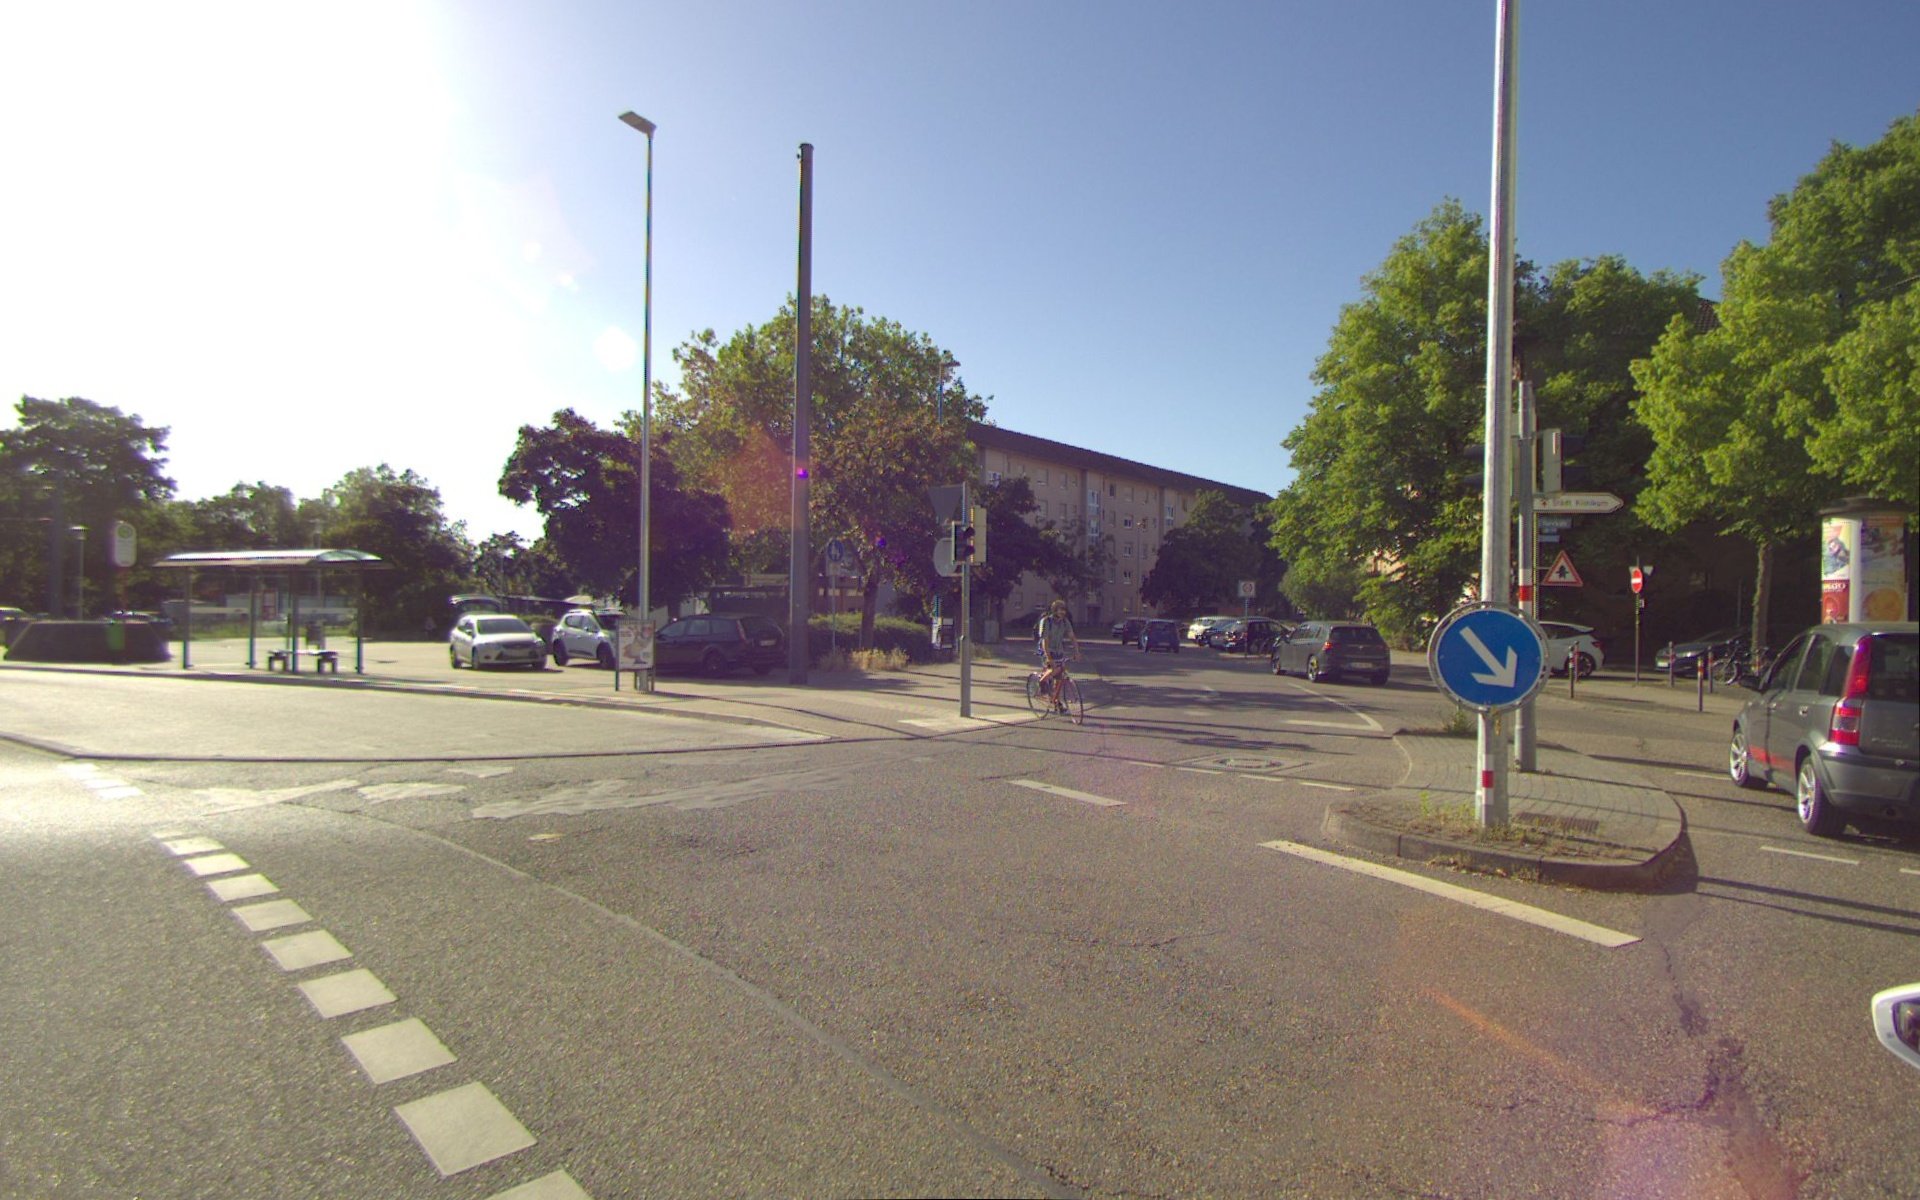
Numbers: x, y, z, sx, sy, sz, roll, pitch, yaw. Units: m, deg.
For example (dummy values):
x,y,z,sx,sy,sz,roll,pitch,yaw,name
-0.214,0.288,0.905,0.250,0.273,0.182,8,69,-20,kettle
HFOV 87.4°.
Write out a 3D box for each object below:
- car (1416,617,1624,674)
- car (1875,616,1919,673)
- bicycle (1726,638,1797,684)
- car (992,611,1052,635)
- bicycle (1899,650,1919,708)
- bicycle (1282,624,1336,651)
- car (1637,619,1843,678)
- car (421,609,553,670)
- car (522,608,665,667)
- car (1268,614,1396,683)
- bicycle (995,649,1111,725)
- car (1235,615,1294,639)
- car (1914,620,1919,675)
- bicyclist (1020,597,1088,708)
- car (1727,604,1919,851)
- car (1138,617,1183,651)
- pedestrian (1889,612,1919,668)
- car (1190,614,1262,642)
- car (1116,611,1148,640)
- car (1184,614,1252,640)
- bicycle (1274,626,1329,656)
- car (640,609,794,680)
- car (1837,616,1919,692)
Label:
x,y,z,sx,sy,sz,roll,pitch,yaw,name
16.160,1.285,29.244,4.935,1.539,1.925,0,-1,12,car
30.376,1.347,30.118,4.161,1.662,1.760,0,0,4,car
19.716,1.501,24.712,1.562,1.086,0.353,1,0,-5,bicycle
4.840,1.754,78.425,4.362,1.822,2.058,0,-1,41,car
18.847,1.511,19.204,1.562,1.086,0.353,1,0,-5,bicycle
13.710,1.475,39.453,1.995,1.044,0.448,0,-1,-3,bicycle
21.922,1.345,28.388,4.213,1.539,1.910,1,-1,6,car
-12.920,1.043,27.418,3.535,1.528,1.679,0,-1,34,car
-10.528,1.033,28.824,3.930,1.601,1.796,0,-1,32,car
8.932,1.121,24.449,1.651,1.528,3.758,1,-1,-1,car
1.344,1.258,14.986,0.819,0.999,1.933,1,-1,-27,bicycle
19.729,1.738,65.236,3.520,1.501,1.622,0,-1,11,car
28.400,1.329,27.026,3.872,1.506,1.759,1,0,-1,car
1.387,0.764,14.891,0.817,1.584,0.592,1,-1,-28,bicyclist
7.169,0.843,7.715,1.592,1.582,3.251,0,-1,29,car
9.401,1.581,47.289,1.650,1.528,3.598,1,-1,4,car
29.996,1.251,31.864,0.731,1.758,0.537,0,-1,39,pedestrian
14.572,1.543,55.014,3.537,1.501,1.614,1,-1,-20,car
9.748,1.419,56.832,1.650,1.528,3.598,0,-1,11,car
14.880,1.550,57.907,3.537,1.501,1.614,1,-1,-20,car
13.643,1.627,40.137,1.995,1.192,0.668,0,-1,-3,bicycle
-5.902,1.019,24.328,3.535,1.528,1.679,0,1,34,car
22.210,1.212,23.254,1.887,1.632,3.996,0,-1,26,car
